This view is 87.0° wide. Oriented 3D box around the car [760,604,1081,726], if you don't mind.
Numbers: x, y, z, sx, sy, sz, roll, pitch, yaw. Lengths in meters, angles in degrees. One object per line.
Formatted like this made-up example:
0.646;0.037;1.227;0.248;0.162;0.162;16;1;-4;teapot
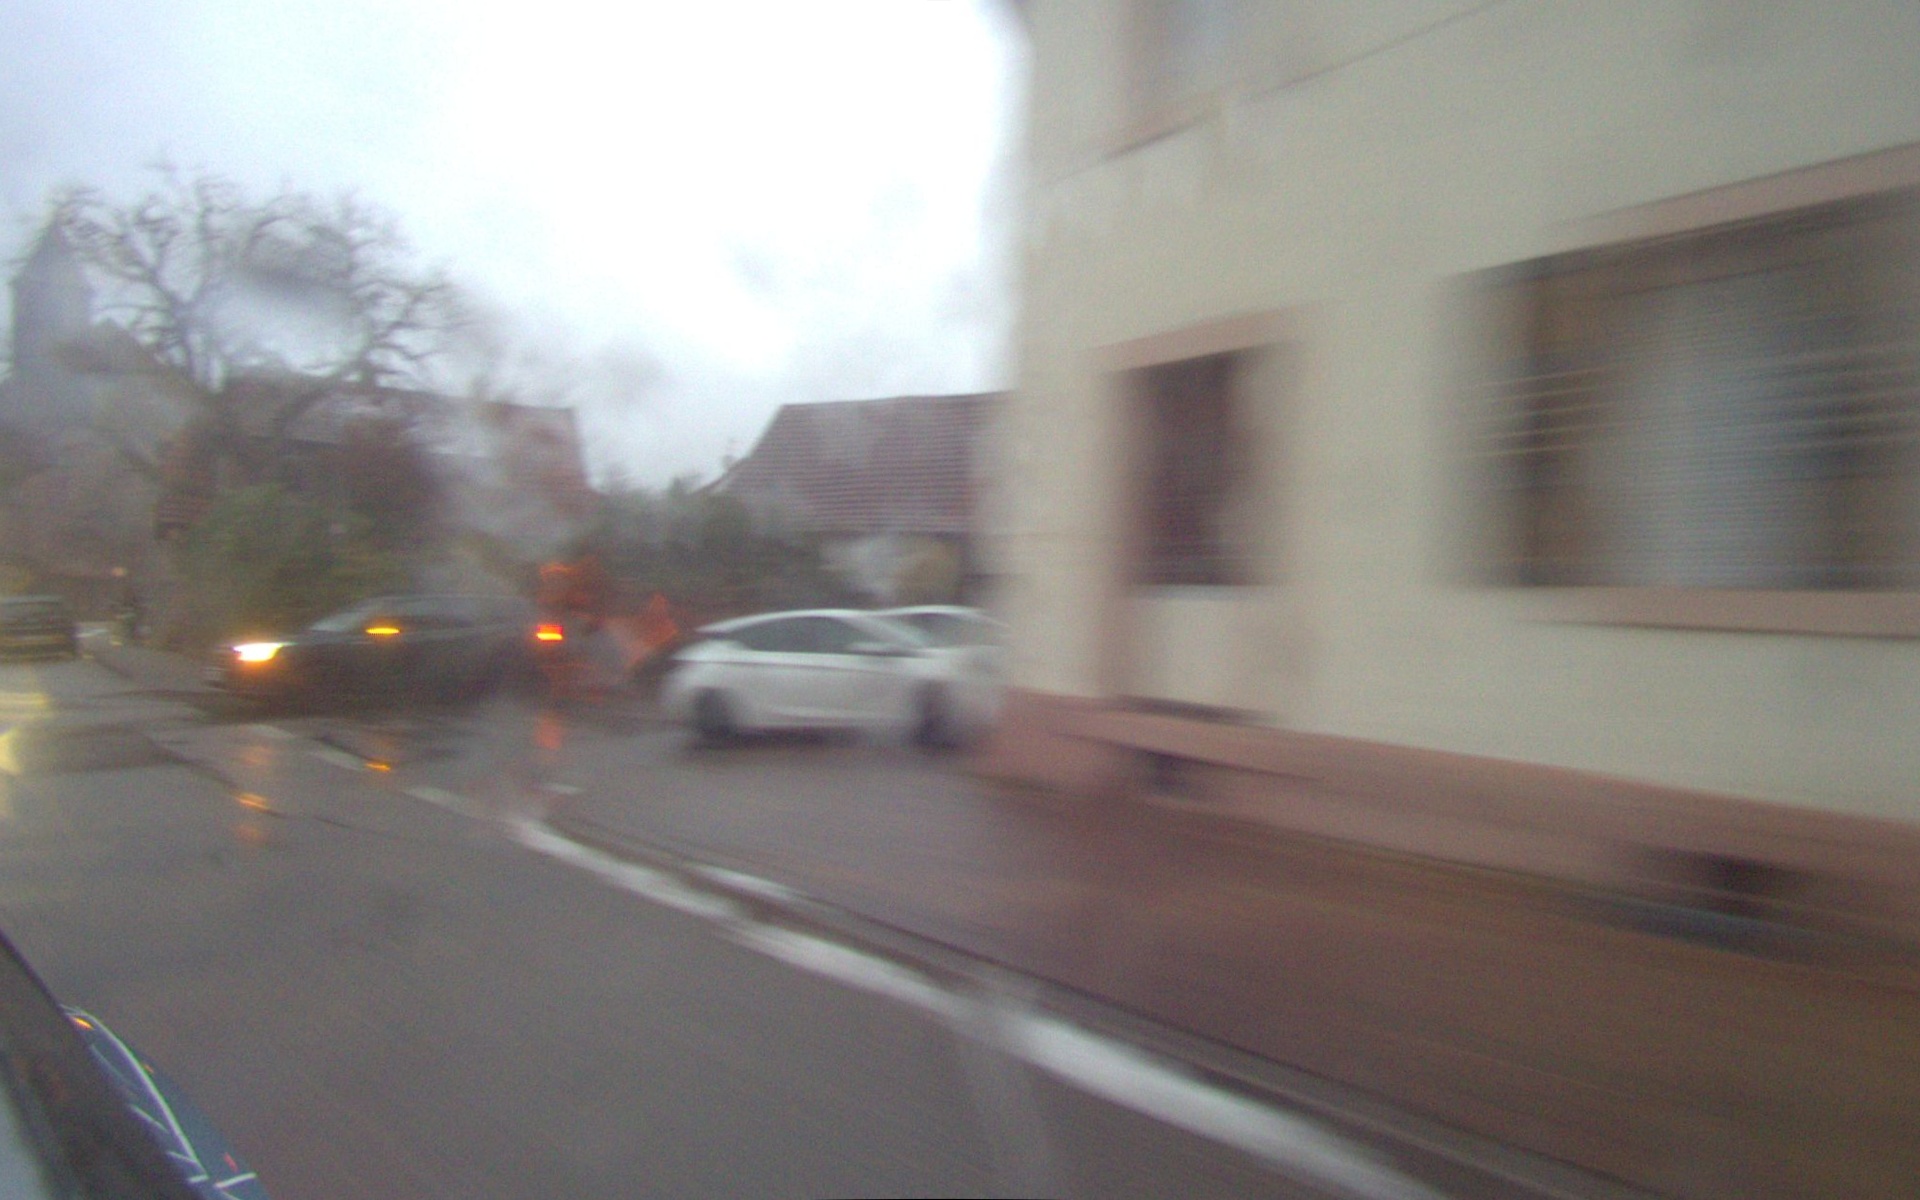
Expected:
-0.479;0.810;13.902;4.020;1.484;1.989;0;-1;16;car

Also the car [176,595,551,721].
-8.720;0.763;15.135;1.998;1.591;4.422;-1;-1;39;car

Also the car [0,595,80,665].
-23.605;0.717;25.434;4.002;1.641;1.971;-1;-1;45;car

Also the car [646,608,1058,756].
-1.143;0.814;11.396;4.200;1.436;1.989;0;-1;16;car
